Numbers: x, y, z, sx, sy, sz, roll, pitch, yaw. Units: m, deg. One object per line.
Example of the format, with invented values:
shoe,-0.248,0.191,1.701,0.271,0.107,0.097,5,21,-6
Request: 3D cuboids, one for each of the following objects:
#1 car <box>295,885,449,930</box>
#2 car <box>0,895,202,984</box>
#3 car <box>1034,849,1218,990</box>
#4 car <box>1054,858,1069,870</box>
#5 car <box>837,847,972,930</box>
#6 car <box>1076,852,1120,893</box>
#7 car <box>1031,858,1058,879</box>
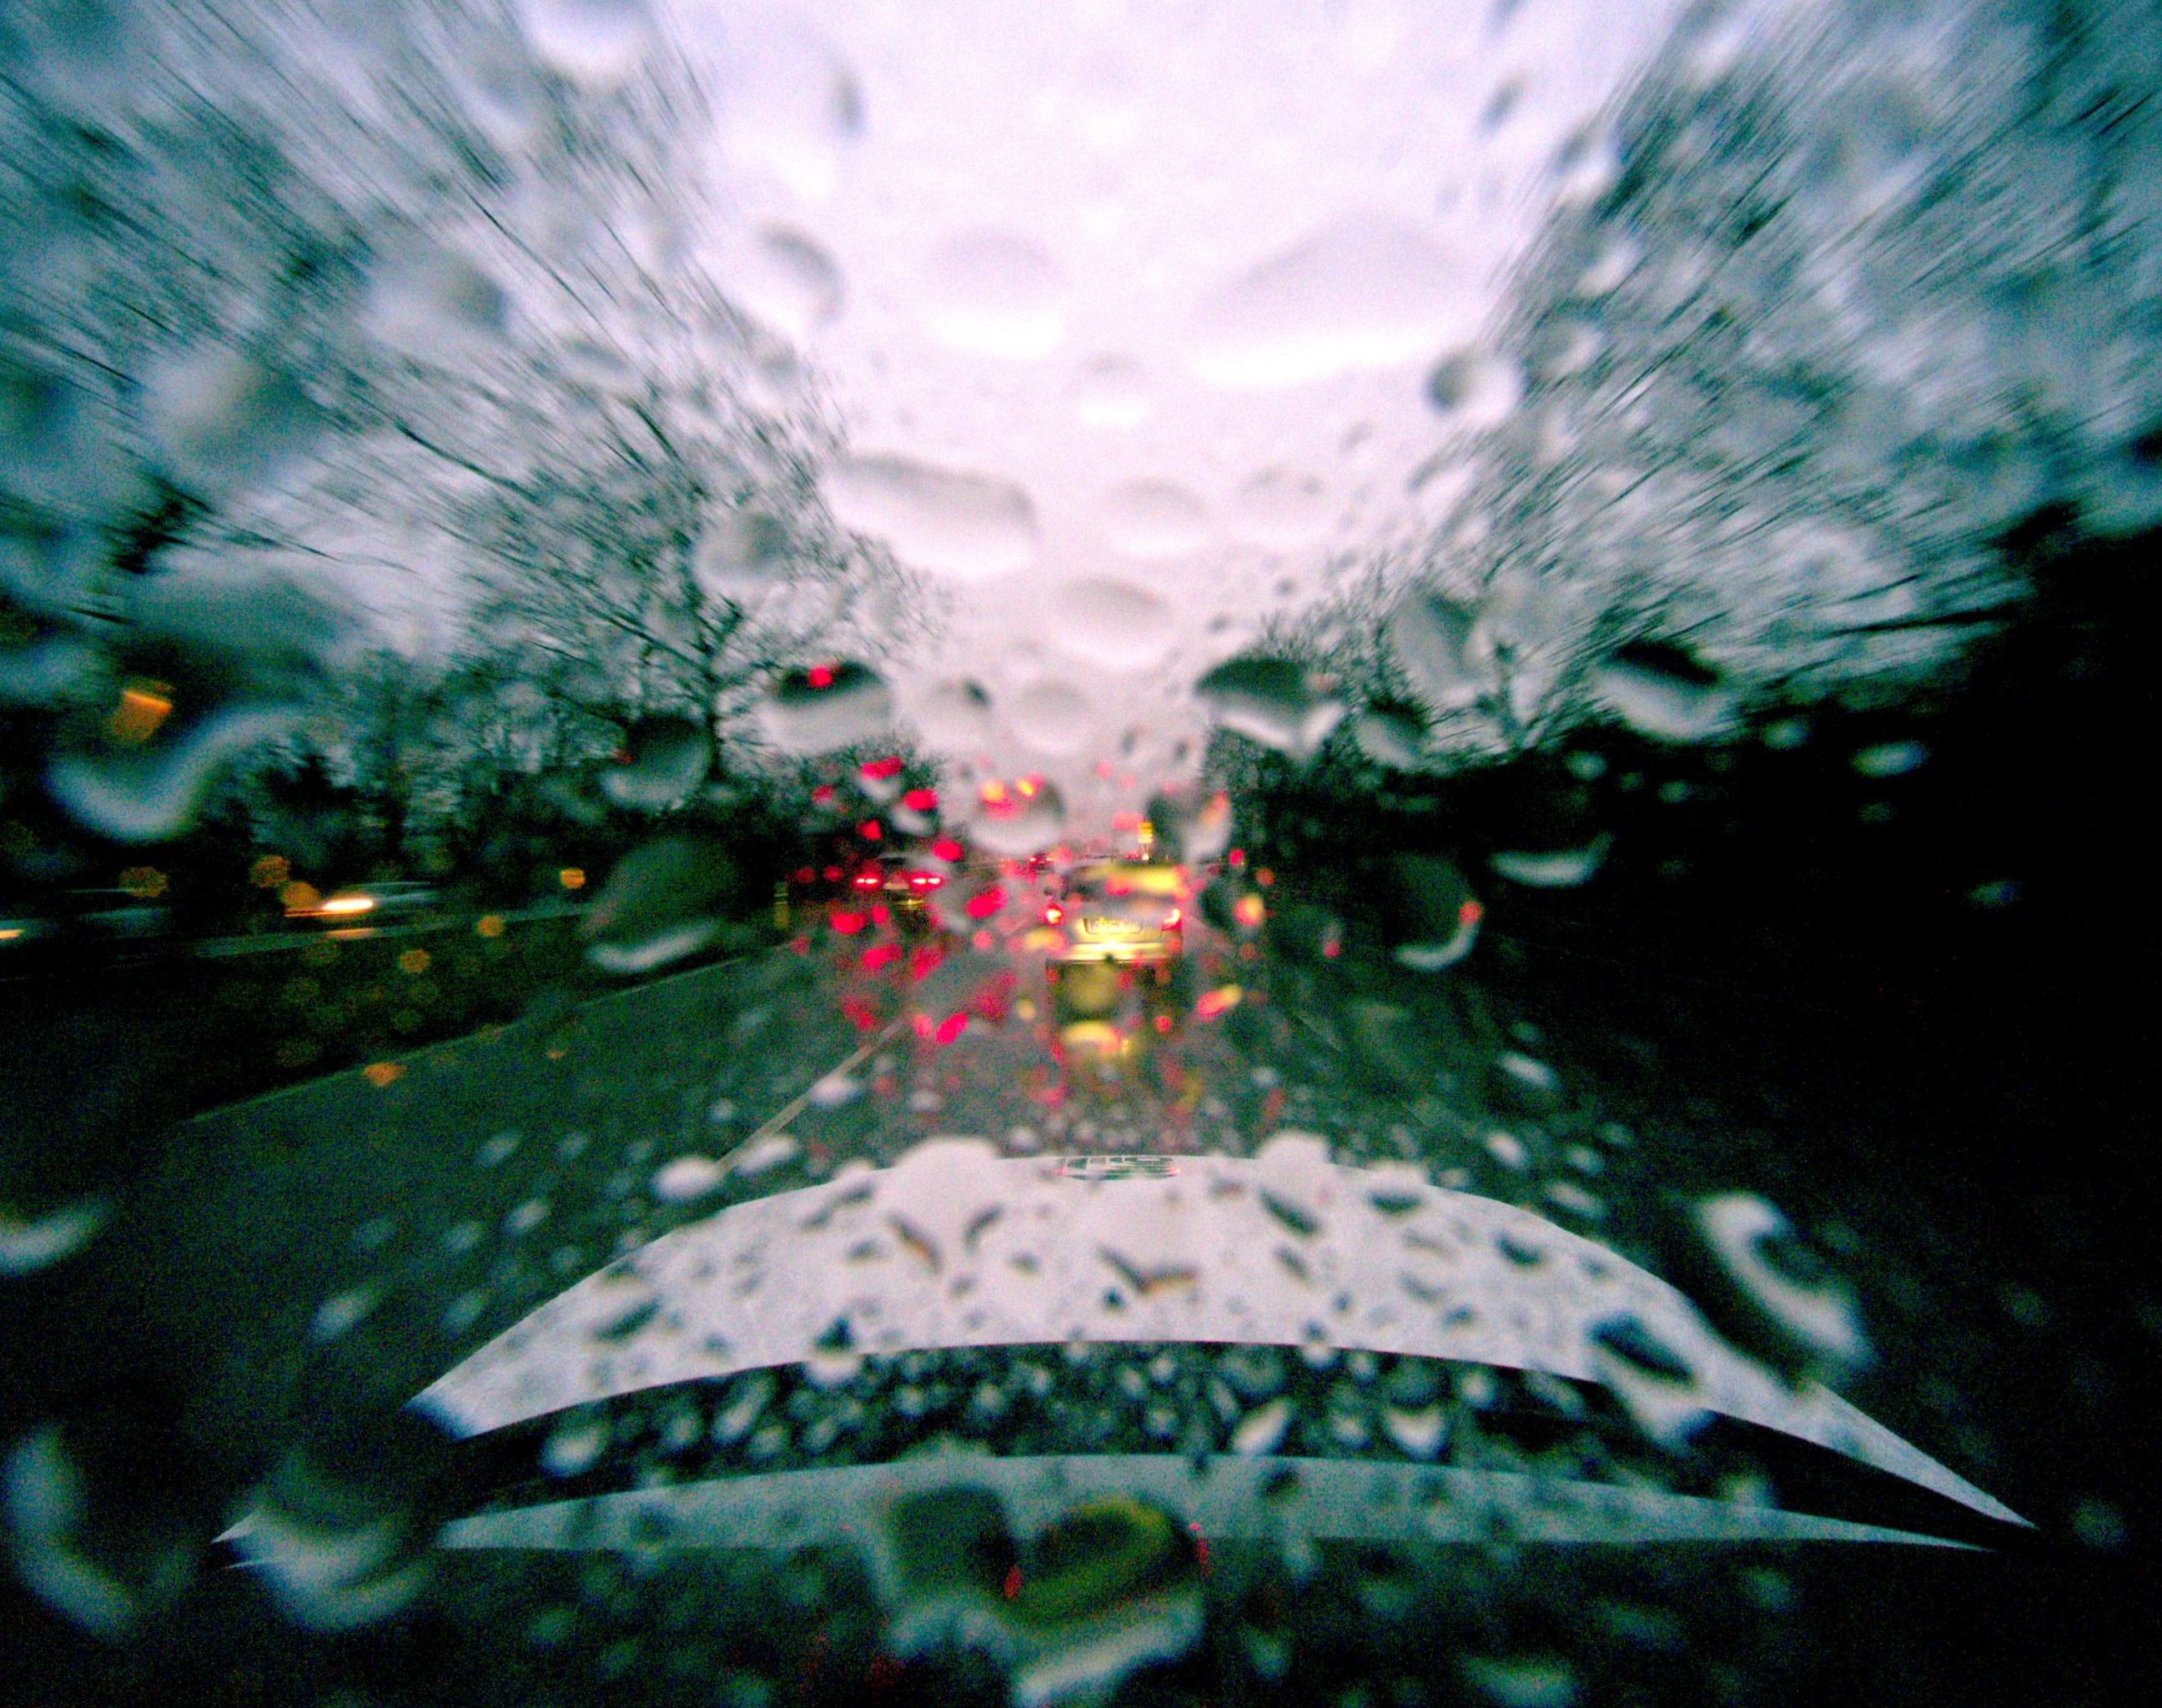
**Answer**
car,-24.547,1.820,28.405,1.571,1.302,4.108,-2,-1,4
car,-19.640,1.590,15.342,1.742,1.425,3.980,-2,-1,2
car,0.579,0.743,11.062,1.986,1.500,4.140,-2,-1,2
car,-2.618,1.390,111.849,1.782,1.483,4.002,-2,0,2
car,-3.697,0.680,17.918,1.987,1.601,4.308,0,0,1
car,0.828,0.836,37.977,1.890,1.767,4.311,-1,0,2
car,-2.836,1.093,63.875,1.782,1.545,4.002,-1,0,2
